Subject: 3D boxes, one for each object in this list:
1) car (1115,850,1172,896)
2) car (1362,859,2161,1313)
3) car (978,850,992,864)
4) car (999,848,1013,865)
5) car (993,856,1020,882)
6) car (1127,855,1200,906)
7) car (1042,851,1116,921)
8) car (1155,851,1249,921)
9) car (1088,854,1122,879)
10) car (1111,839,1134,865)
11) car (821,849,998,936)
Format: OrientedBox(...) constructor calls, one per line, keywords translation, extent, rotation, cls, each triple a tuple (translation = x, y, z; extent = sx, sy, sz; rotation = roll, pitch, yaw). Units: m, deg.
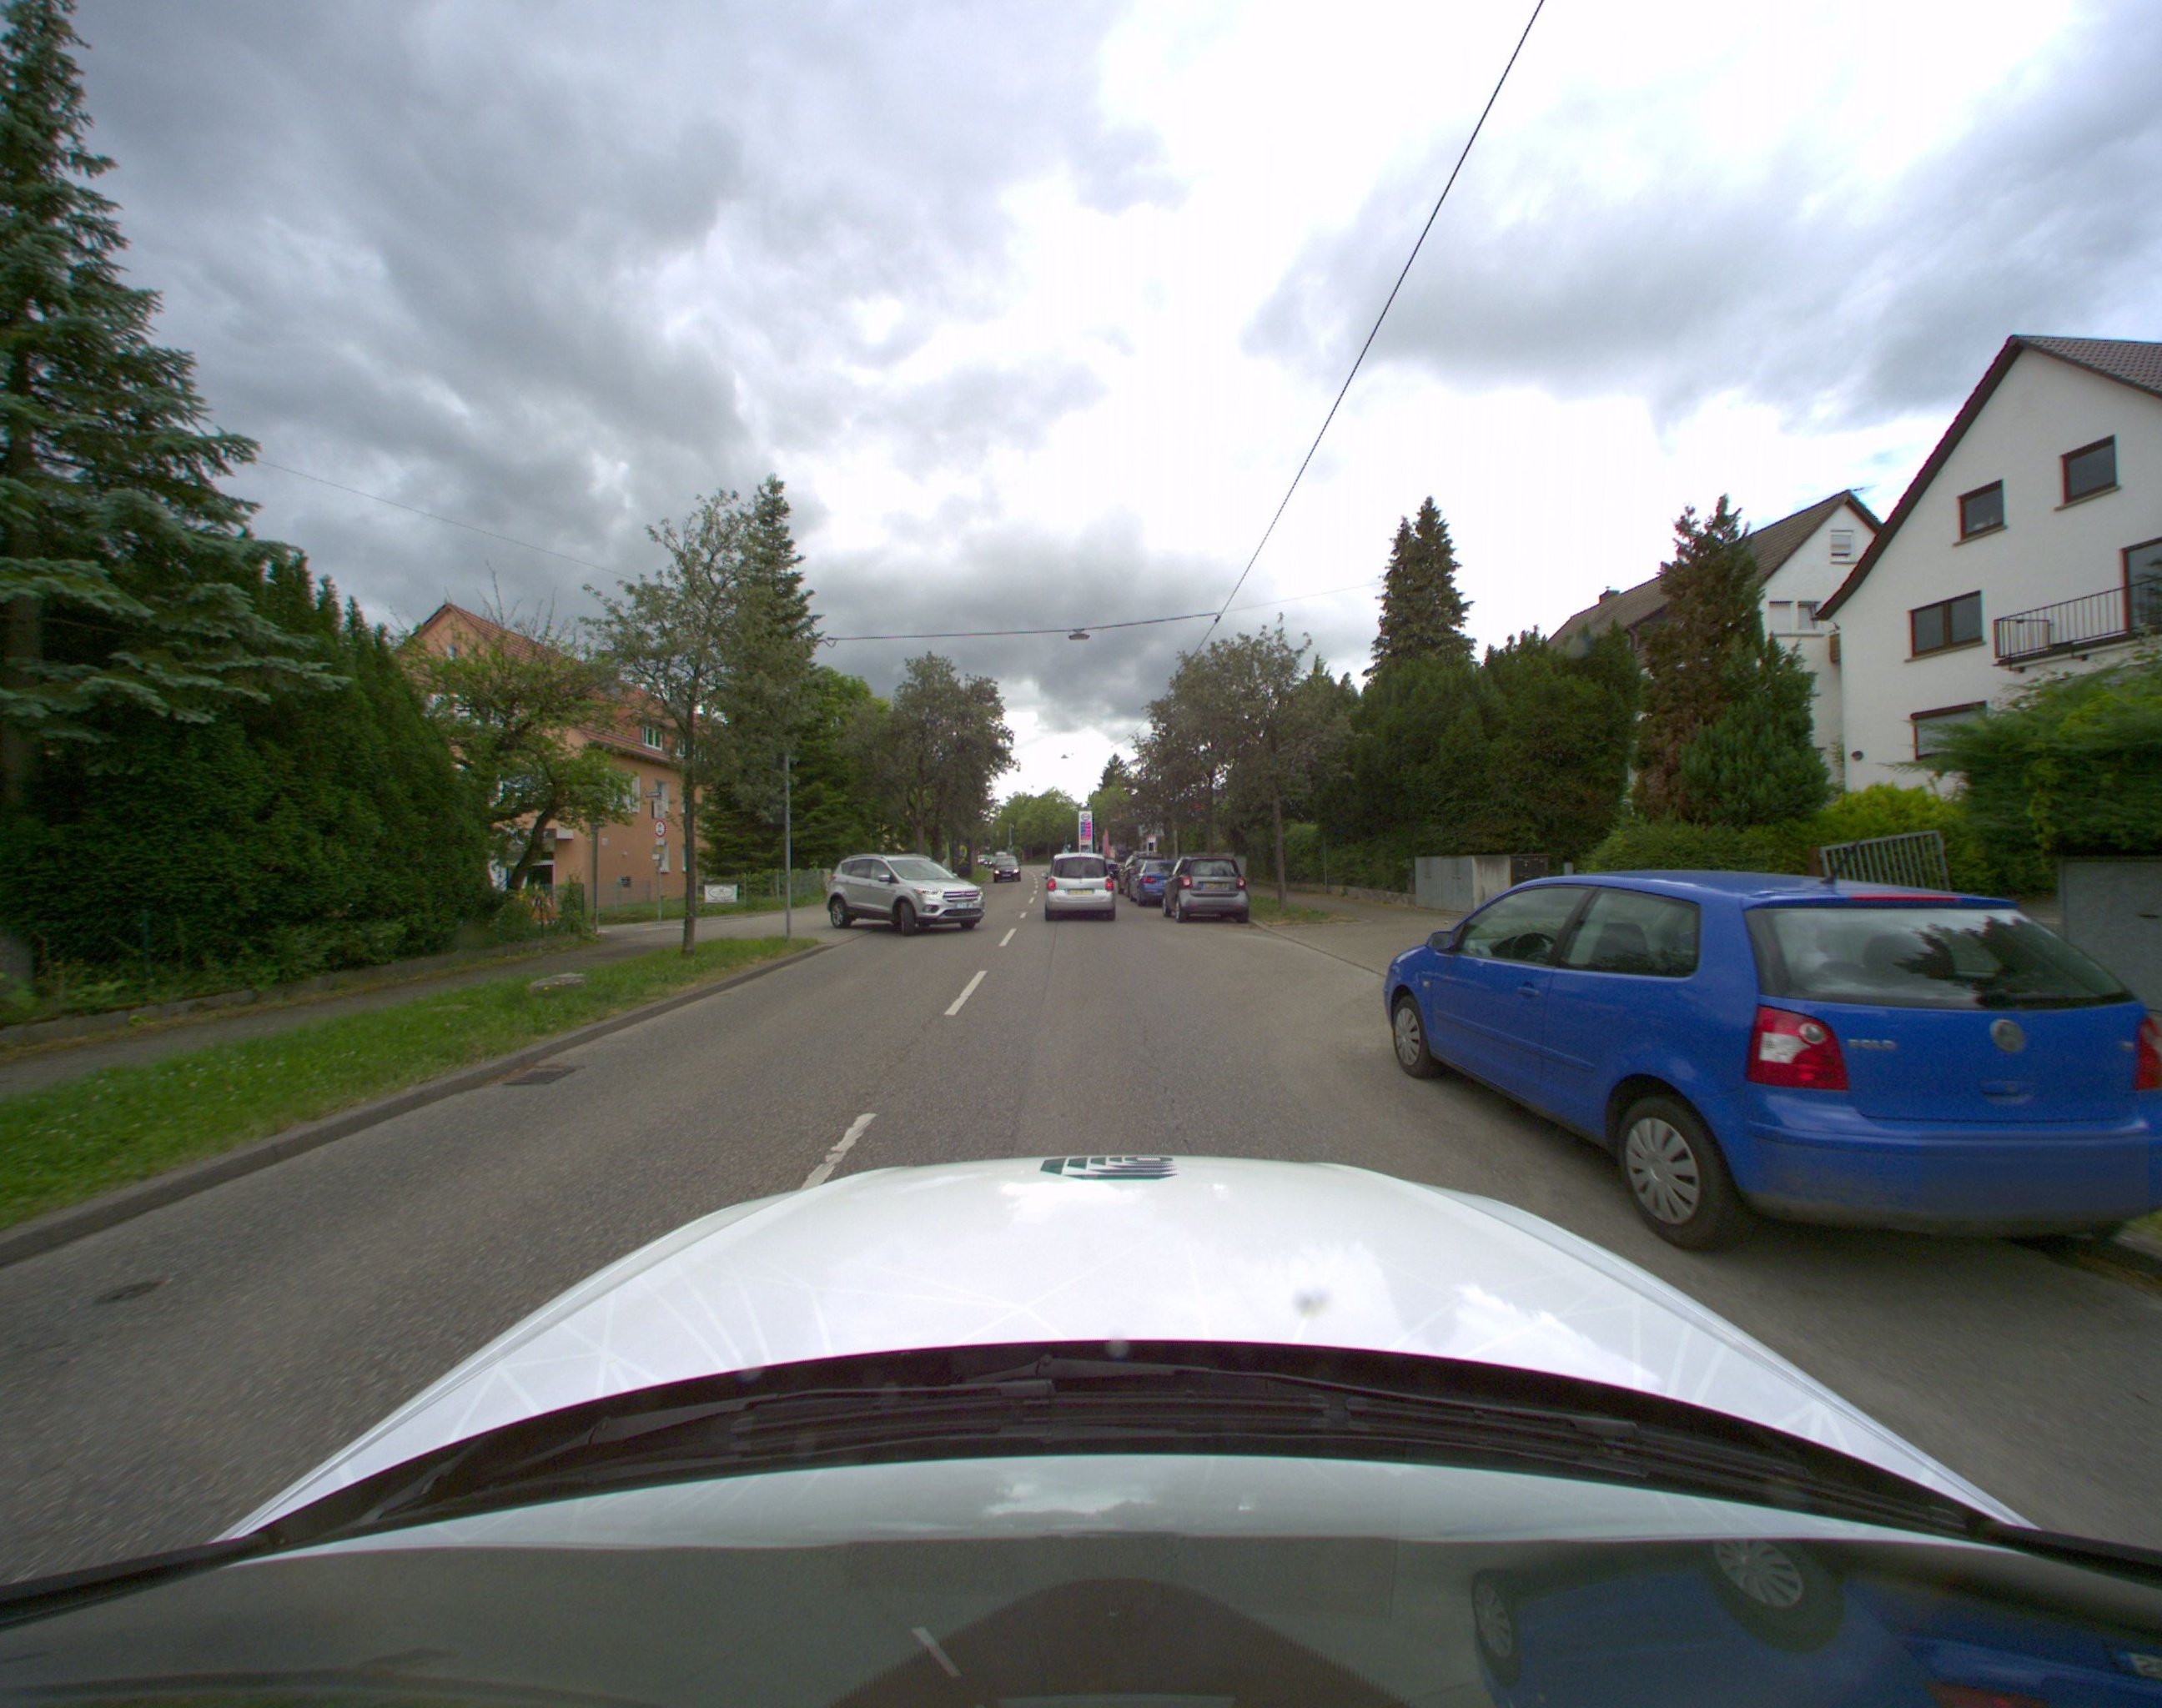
OrientedBox(translation=(2.310, 0.677, 31.013), extent=(1.691, 1.570, 3.952), rotation=(-2, 0, -2), cls="car")
OrientedBox(translation=(3.074, 0.769, 4.599), extent=(1.622, 1.452, 3.874), rotation=(0, 0, -1), cls="car")
OrientedBox(translation=(-14.408, 0.471, 122.521), extent=(1.931, 2.013, 3.994), rotation=(-1, 0, -4), cls="car")
OrientedBox(translation=(-10.762, 0.310, 117.416), extent=(1.931, 2.408, 3.994), rotation=(-1, 0, -4), cls="car")
OrientedBox(translation=(-4.550, 0.881, 50.247), extent=(1.542, 1.470, 3.736), rotation=(-2, 0, -5), cls="car")
OrientedBox(translation=(2.497, 0.768, 25.657), extent=(1.692, 1.433, 4.336), rotation=(1, 0, -2), cls="car")
OrientedBox(translation=(-0.064, 0.719, 20.091), extent=(1.674, 1.560, 3.510), rotation=(0, 0, -1), cls="car")
OrientedBox(translation=(2.903, 0.721, 20.264), extent=(1.690, 1.557, 3.953), rotation=(0, 0, -1), cls="car")
OrientedBox(translation=(1.452, 0.749, 51.421), extent=(1.692, 1.506, 3.966), rotation=(-1, 0, -5), cls="car")
OrientedBox(translation=(4.892, -0.238, 96.765), extent=(2.276, 2.911, 5.274), rotation=(0, 0, -2), cls="car")
OrientedBox(translation=(-3.921, 0.796, 18.259), extent=(4.047, 1.706, 1.758), rotation=(-1, 0, 41), cls="car")
